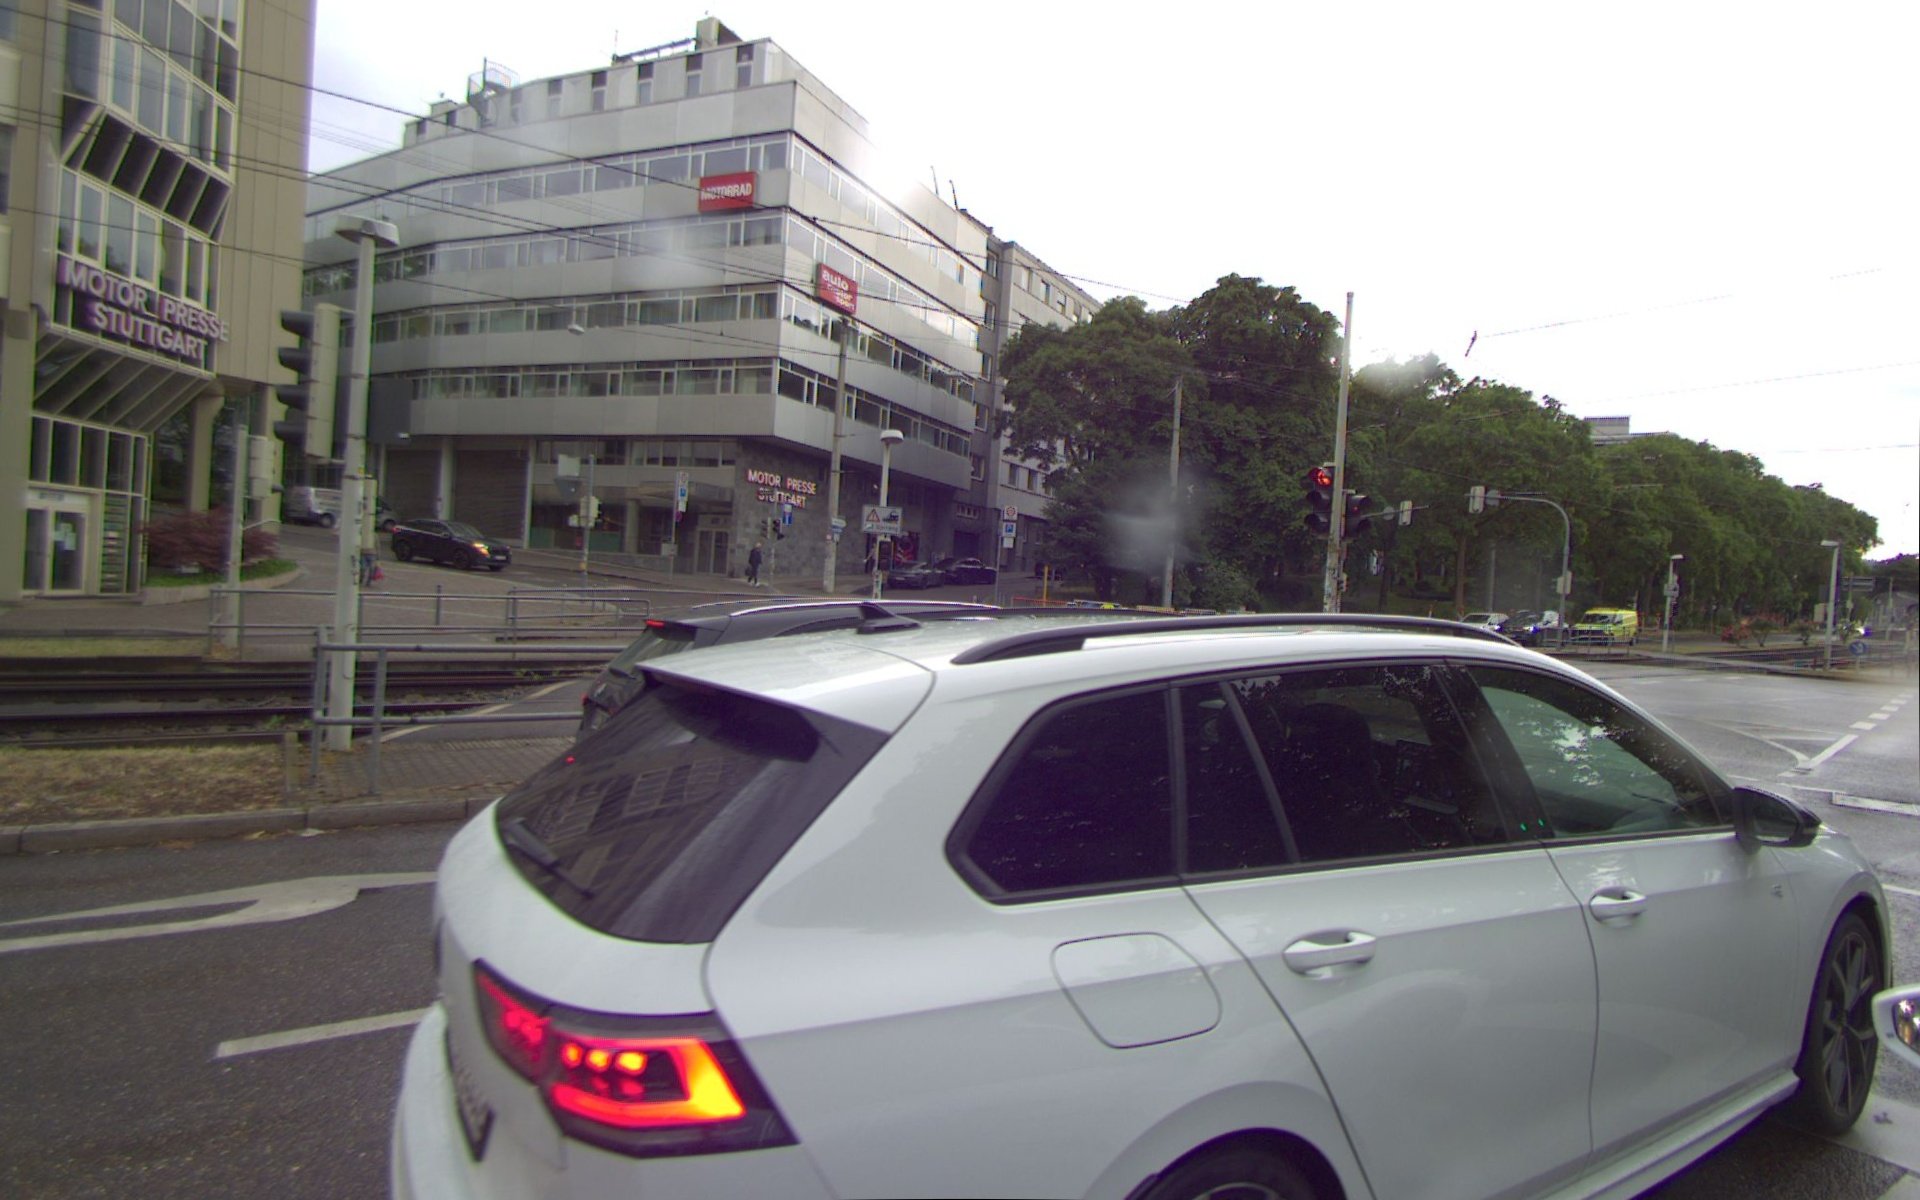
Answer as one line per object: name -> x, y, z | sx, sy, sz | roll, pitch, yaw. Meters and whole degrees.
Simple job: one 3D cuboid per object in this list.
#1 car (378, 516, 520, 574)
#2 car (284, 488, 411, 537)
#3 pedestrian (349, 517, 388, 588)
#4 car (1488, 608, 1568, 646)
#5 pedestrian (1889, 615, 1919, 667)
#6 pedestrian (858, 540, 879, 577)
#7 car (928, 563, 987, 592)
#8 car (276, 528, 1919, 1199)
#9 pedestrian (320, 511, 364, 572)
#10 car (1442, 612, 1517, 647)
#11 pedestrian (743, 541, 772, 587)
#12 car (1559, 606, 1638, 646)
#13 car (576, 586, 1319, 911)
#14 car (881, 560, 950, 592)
car -> -18.952, -2.038, 37.253 | 4.794, 1.601, 1.999 | 7, 3, 23
car -> -32.151, -4.551, 52.934 | 1.964, 2.040, 5.403 | 2, 0, 30
pedestrian -> -15.875, -1.278, 26.948 | 0.822, 1.810, 0.753 | 3, 2, -32
car -> 26.240, 1.272, 46.402 | 3.648, 1.566, 1.905 | 3, 1, -37
pedestrian -> 35.253, 1.514, 37.378 | 0.860, 1.826, 0.863 | 5, 2, 44
pedestrian -> -4.845, -2.185, 53.215 | 0.707, 1.886, 0.758 | 5, 4, 31
car -> -0.102, -1.210, 55.512 | 1.842, 1.450, 3.998 | 4, 2, 22
car -> 0.842, 0.730, 2.811 | 4.423, 1.461, 1.787 | 2, 0, -30
pedestrian -> -17.703, -1.680, 28.795 | 0.746, 1.661, 0.719 | 5, 2, 25
car -> 25.918, 1.460, 50.102 | 3.648, 1.566, 1.905 | 3, 1, -37
pedestrian -> -8.703, -1.545, 43.115 | 0.833, 1.885, 0.719 | 5, 2, 25
car -> 32.758, 1.353, 51.500 | 4.526, 1.875, 1.905 | 3, 1, -38
car -> 0.048, 0.731, 6.407 | 4.423, 1.461, 1.787 | 2, 0, -30
car -> -2.193, -1.173, 50.538 | 1.842, 1.450, 4.091 | 4, 2, 22
